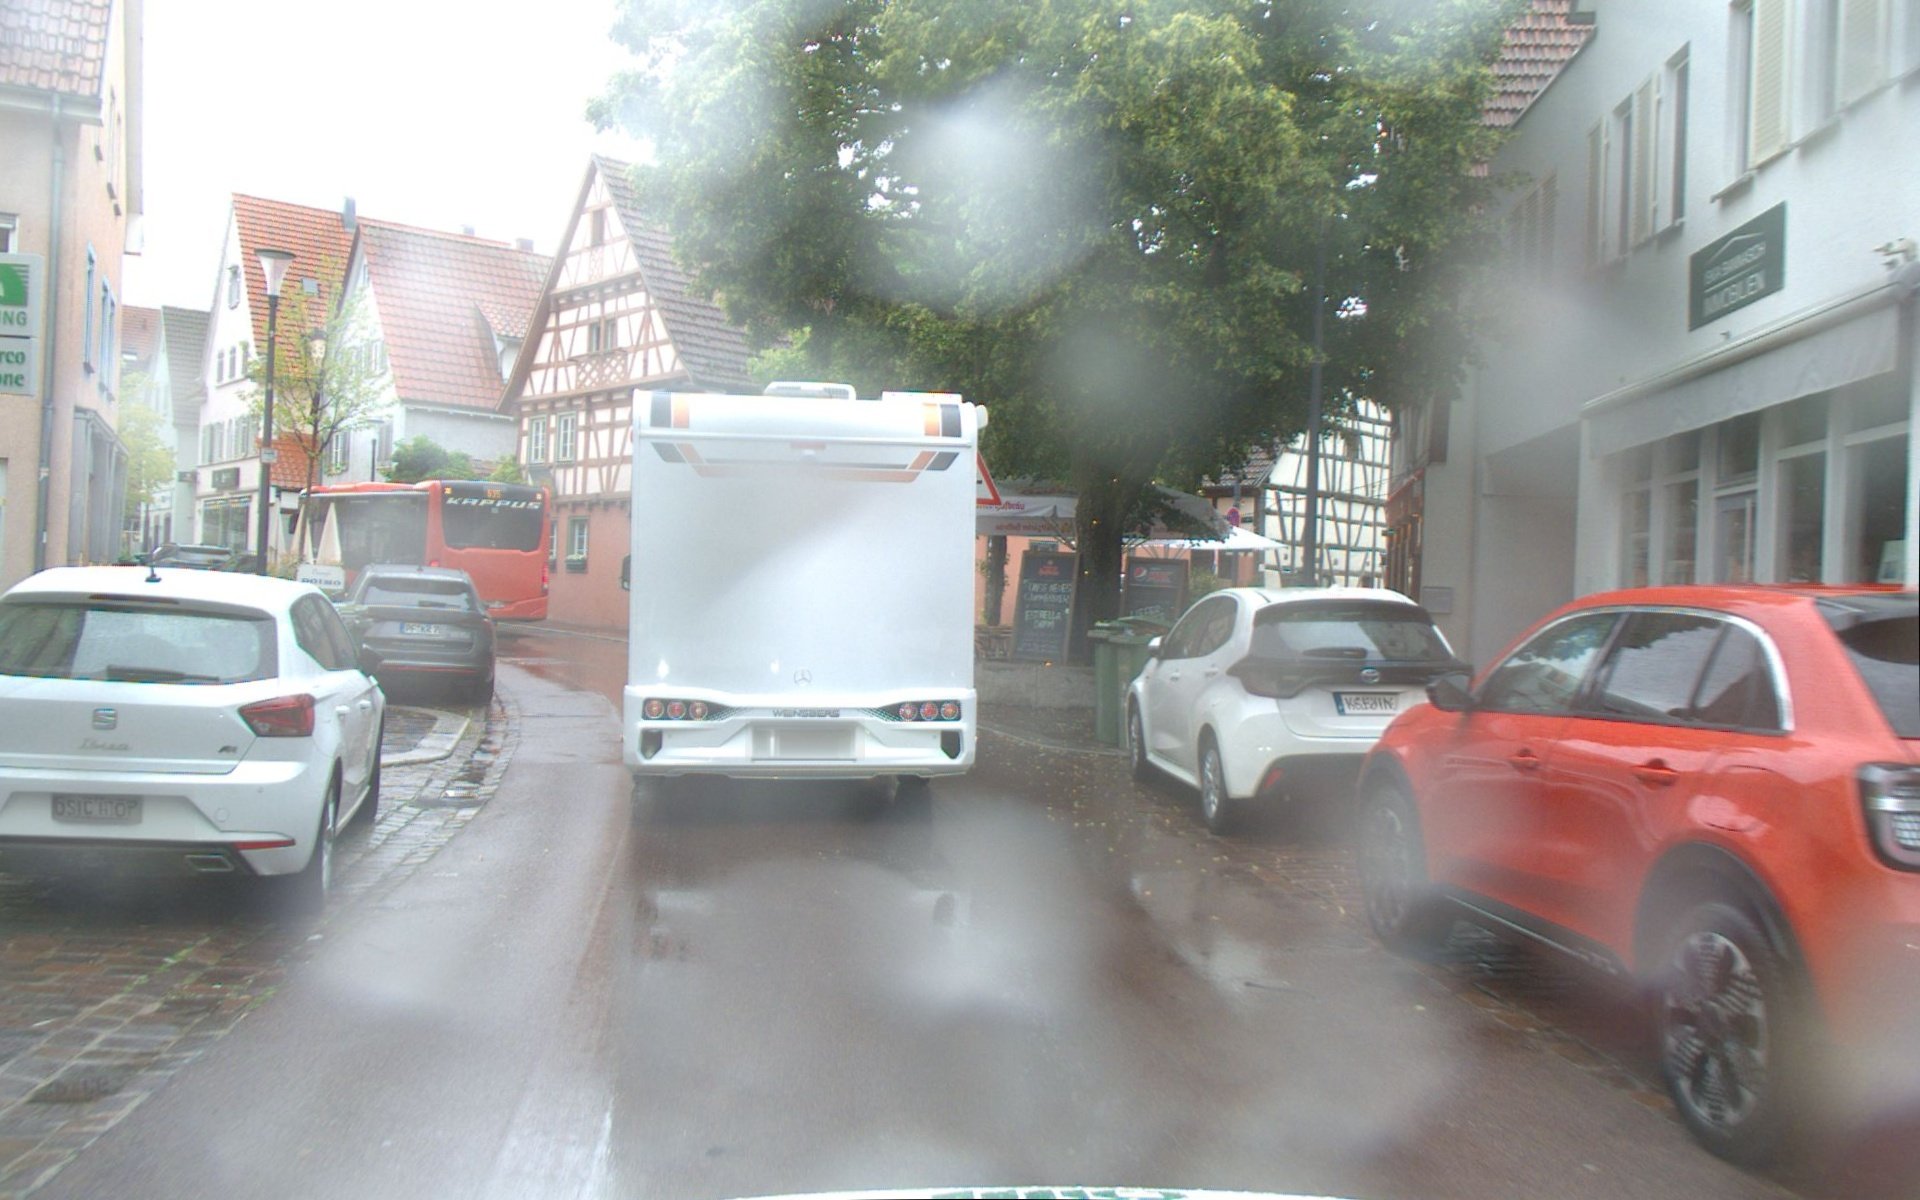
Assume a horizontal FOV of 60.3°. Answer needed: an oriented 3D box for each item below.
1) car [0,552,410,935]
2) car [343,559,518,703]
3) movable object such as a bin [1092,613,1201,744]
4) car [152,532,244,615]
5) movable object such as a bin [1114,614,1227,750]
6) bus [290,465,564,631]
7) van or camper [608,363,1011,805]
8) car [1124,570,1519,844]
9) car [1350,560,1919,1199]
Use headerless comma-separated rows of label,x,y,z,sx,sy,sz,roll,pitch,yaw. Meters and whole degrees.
car,-3.845,0.540,8.379,1.693,1.439,3.965,4,0,-15
car,-6.236,0.294,19.237,1.696,1.439,3.957,2,1,-21
movable object such as a bin,1.690,0.704,15.036,0.818,1.132,0.587,2,-1,-10
car,-17.155,-0.583,37.369,1.676,1.704,3.864,2,0,-23
movable object such as a bin,1.831,0.707,14.463,0.818,1.132,0.560,2,-1,-10
bus,-12.218,-1.090,37.022,2.789,3.142,10.477,3,0,-35
van or camper,-1.507,-0.109,13.437,2.394,2.630,6.734,2,0,-11
car,2.267,0.584,11.380,1.644,1.555,3.796,1,1,-4
car,2.768,0.677,5.669,1.644,1.555,3.795,1,1,-6
